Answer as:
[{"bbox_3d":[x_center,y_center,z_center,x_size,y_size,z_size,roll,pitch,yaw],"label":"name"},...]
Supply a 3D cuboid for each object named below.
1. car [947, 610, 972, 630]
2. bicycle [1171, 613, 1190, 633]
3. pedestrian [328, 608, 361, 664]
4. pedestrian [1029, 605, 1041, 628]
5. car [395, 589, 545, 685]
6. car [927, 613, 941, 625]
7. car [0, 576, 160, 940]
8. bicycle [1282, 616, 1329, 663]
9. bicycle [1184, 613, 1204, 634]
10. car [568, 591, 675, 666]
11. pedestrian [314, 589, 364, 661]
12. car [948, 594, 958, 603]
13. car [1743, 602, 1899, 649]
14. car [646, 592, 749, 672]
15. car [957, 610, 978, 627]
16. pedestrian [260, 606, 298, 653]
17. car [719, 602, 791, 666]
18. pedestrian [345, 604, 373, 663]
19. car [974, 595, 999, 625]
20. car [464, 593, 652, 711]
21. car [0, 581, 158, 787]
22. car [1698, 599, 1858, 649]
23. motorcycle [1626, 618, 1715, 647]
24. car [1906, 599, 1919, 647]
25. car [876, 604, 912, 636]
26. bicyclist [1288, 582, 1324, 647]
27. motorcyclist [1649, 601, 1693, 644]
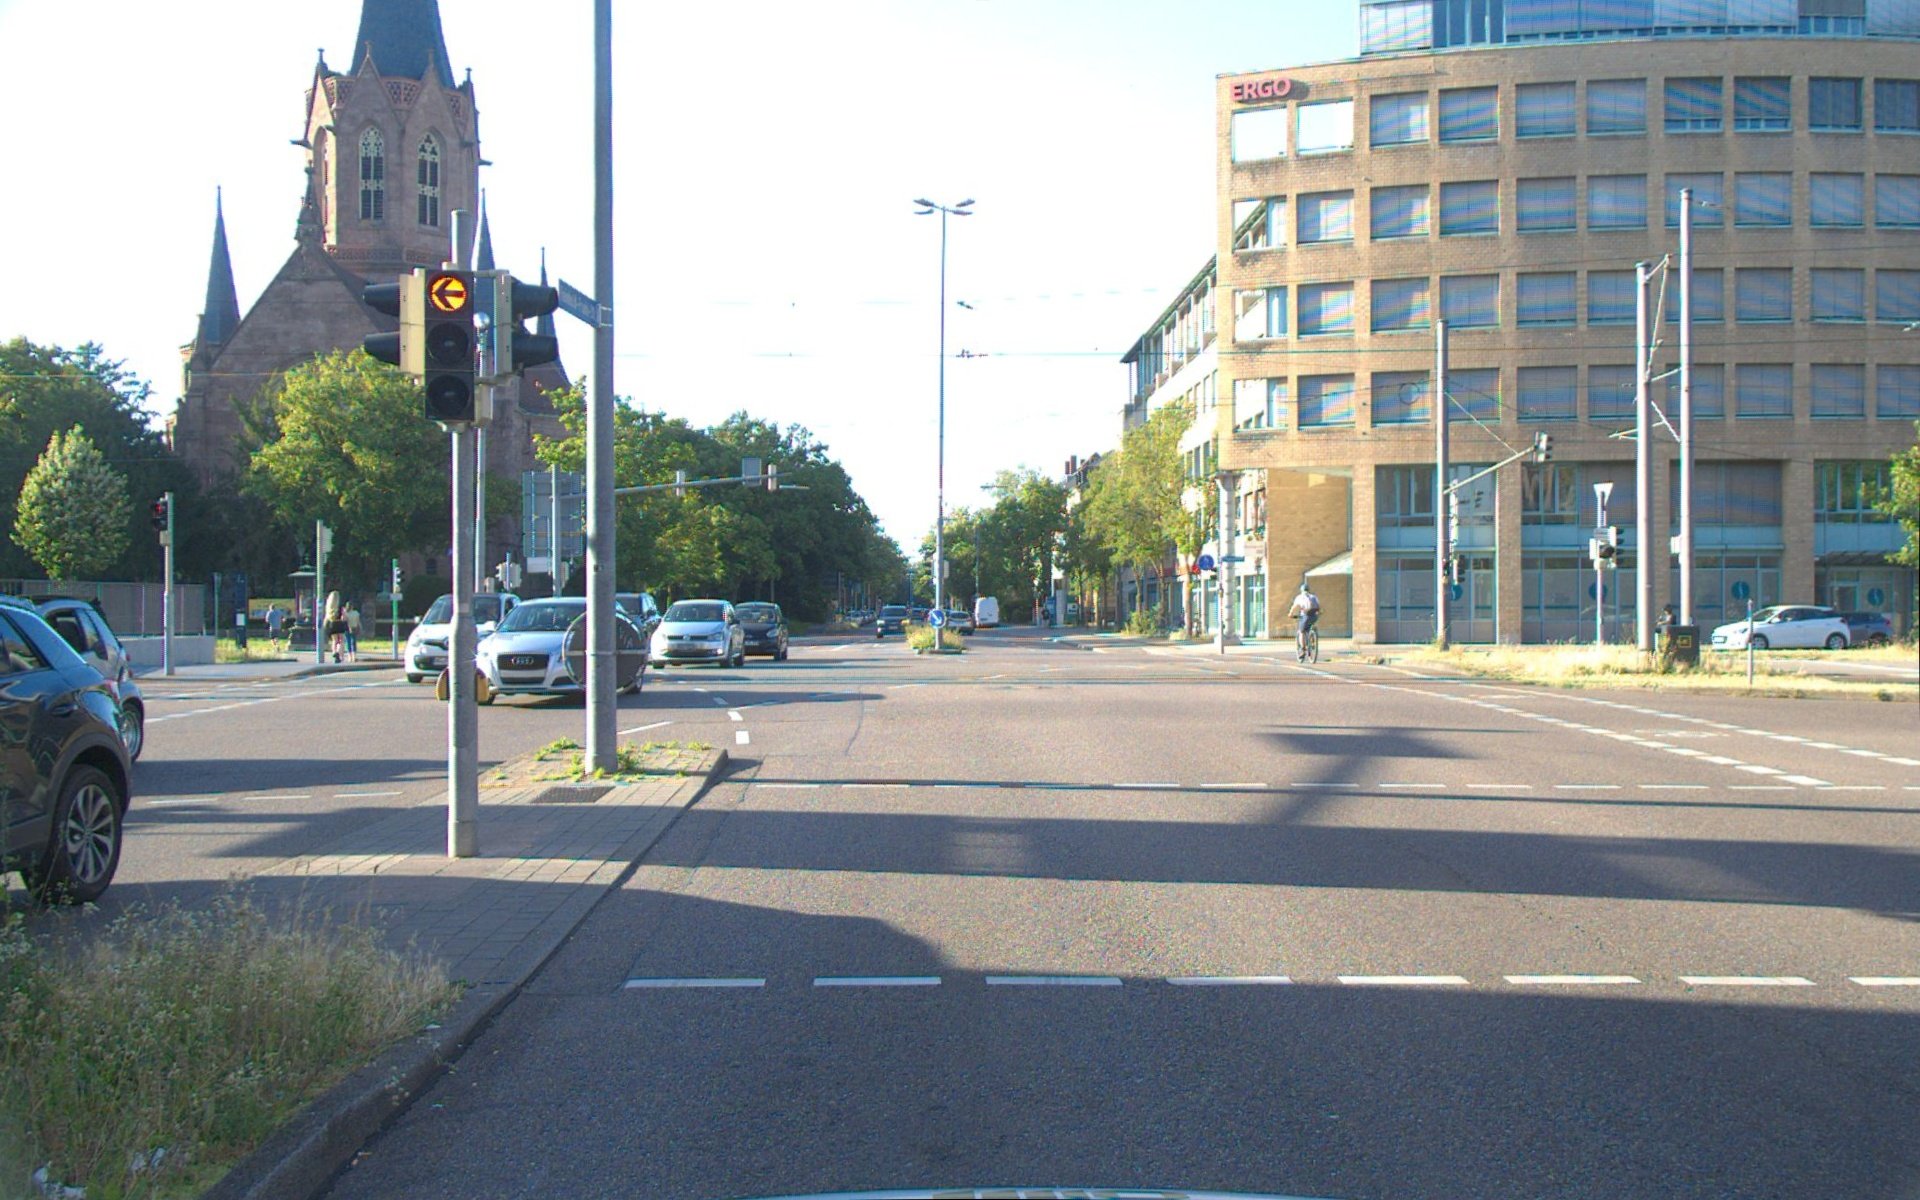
[{"bbox_3d":[-0.039,1.274,106.234,1.562,1.289,3.266,0,0,-1],"label":"car"},{"bbox_3d":[11.278,1.153,84.793,0.633,1.012,2.080,0,0,-2],"label":"bicycle"},{"bbox_3d":[-19.303,1.131,51.845,0.832,1.726,1.008,1,-1,-27],"label":"pedestrian"},{"bbox_3d":[5.944,1.305,131.105,0.830,1.835,0.775,0,0,-1],"label":"pedestrian"},{"bbox_3d":[-8.777,0.610,29.913,1.641,1.571,3.637,-2,0,-1],"label":"car"},{"bbox_3d":[-2.873,2.072,184.814,1.562,1.289,3.266,0,0,-1],"label":"car"},{"bbox_3d":[-4.961,0.712,6.607,1.642,1.571,4.100,-2,0,-3],"label":"car"},{"bbox_3d":[7.673,0.865,36.779,0.580,0.959,1.978,1,0,-1],"label":"bicycle"},{"bbox_3d":[11.382,1.134,80.377,0.633,1.012,2.080,0,0,-2],"label":"bicycle"},{"bbox_3d":[-8.582,0.679,42.308,1.779,1.740,4.785,-2,0,-1],"label":"car"},{"bbox_3d":[-15.548,0.620,41.425,0.945,1.770,0.811,0,-1,-3],"label":"pedestrian"},{"bbox_3d":[-1.104,-0.252,255.010,1.562,1.289,3.266,0,0,-1],"label":"car"},{"bbox_3d":[29.740,0.879,57.224,4.390,1.564,1.986,0,-1,-1],"label":"car"},{"bbox_3d":[-5.647,0.651,35.968,1.641,1.571,3.805,-2,0,-1],"label":"car"},{"bbox_3d":[0.560,1.377,124.143,1.562,1.289,3.266,0,0,-1],"label":"car"},{"bbox_3d":[-25.192,1.080,61.190,0.994,1.726,0.843,1,-1,28],"label":"pedestrian"},{"bbox_3d":[-5.541,0.888,44.971,1.546,1.571,3.476,-2,0,-1],"label":"car"},{"bbox_3d":[-17.920,0.989,49.333,0.697,1.726,0.891,1,-1,-17],"label":"pedestrian"},{"bbox_3d":[2.302,0.873,144.411,1.953,2.483,3.999,1,0,-1],"label":"car"},{"bbox_3d":[-5.561,0.657,23.369,1.674,1.450,4.101,-2,0,-1],"label":"car"},{"bbox_3d":[-8.352,0.672,14.301,1.504,1.620,2.807,-2,0,-3],"label":"car"},{"bbox_3d":[25.701,0.741,52.036,4.080,1.518,1.994,0,-1,-3],"label":"car"},{"bbox_3d":[24.490,1.128,57.038,2.663,0.981,1.031,0,-1,-2],"label":"motorcycle"},{"bbox_3d":[32.408,0.716,52.291,3.970,1.518,1.819,0,-1,-2],"label":"car"},{"bbox_3d":[-3.713,1.152,93.673,1.953,1.754,5.029,-1,-1,-2],"label":"car"},{"bbox_3d":[7.672,0.316,36.679,0.580,1.393,0.929,1,0,-1],"label":"bicyclist"},{"bbox_3d":[24.503,0.767,57.044,1.044,1.460,1.031,0,-1,-2],"label":"motorcyclist"}]
